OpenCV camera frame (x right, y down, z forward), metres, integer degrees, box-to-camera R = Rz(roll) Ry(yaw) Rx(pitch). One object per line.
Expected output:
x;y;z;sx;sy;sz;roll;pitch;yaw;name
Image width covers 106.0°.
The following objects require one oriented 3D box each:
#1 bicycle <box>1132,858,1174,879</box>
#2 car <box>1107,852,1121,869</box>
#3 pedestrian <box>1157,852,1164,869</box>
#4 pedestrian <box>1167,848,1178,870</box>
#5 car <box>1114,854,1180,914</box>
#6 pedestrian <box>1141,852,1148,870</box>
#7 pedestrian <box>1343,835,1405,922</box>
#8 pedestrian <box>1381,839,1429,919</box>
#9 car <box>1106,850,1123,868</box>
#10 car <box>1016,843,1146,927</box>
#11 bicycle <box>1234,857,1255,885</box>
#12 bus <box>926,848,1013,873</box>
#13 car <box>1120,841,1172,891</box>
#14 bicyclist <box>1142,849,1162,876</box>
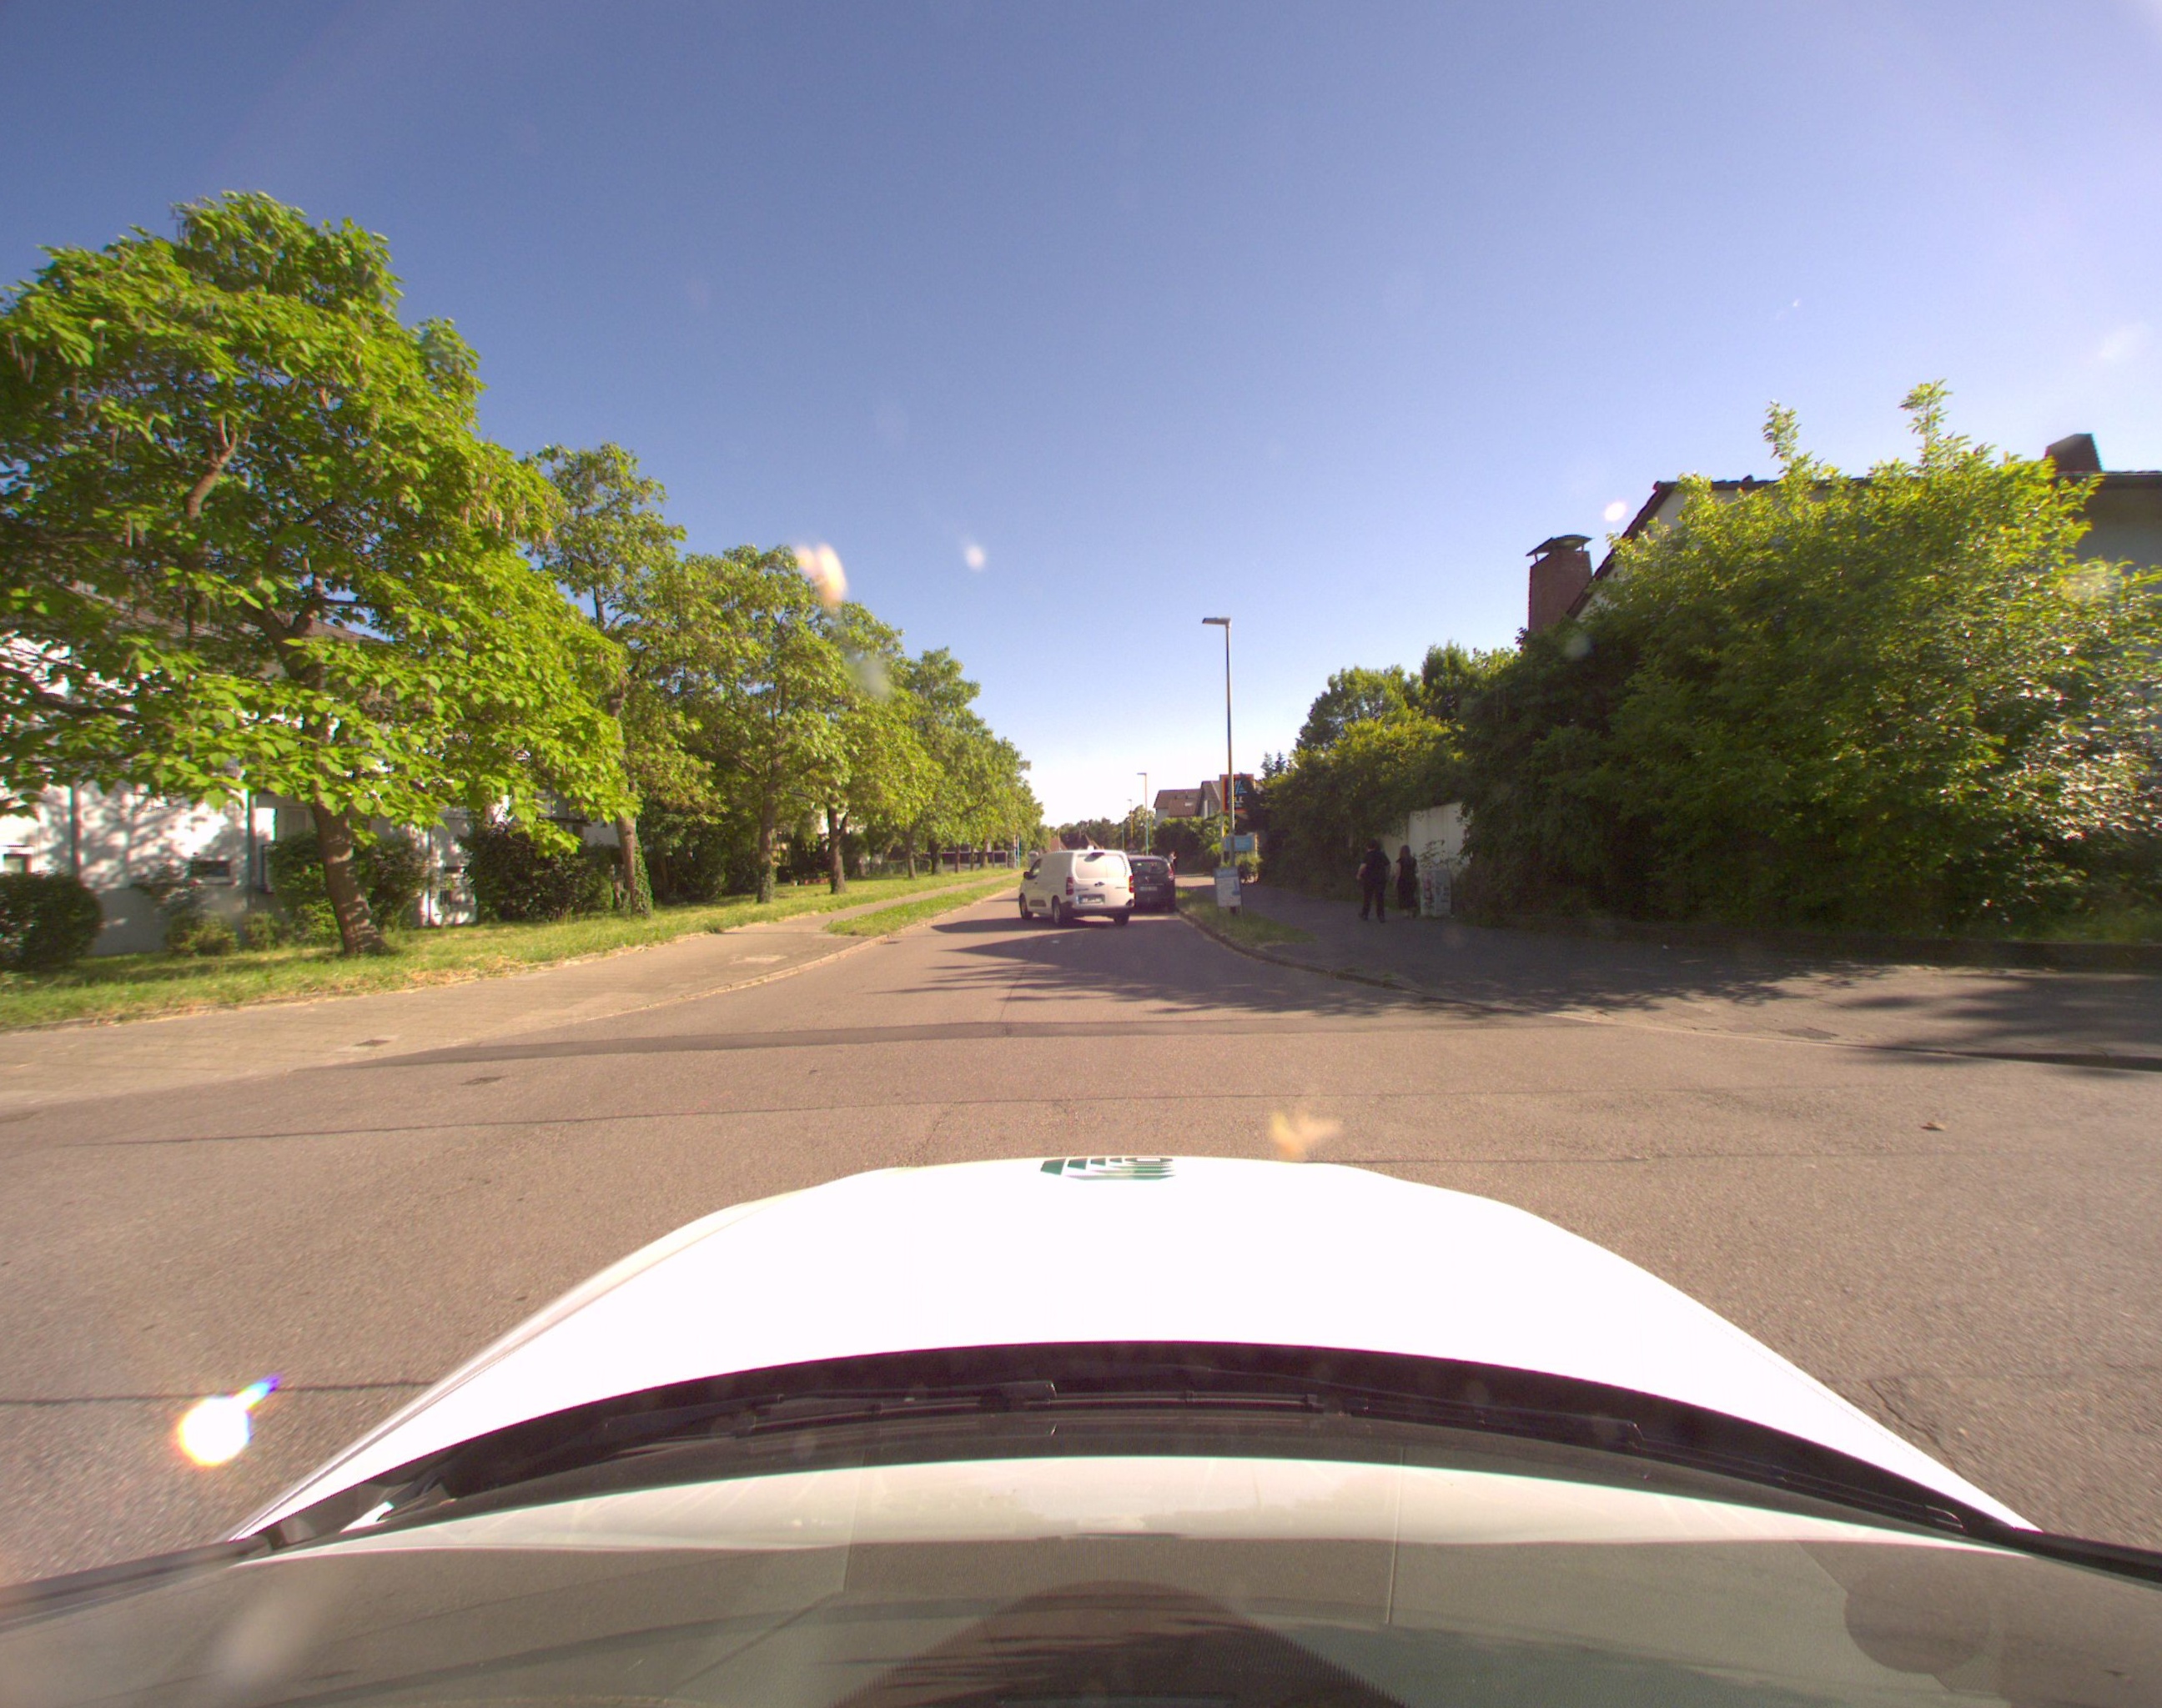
4.207;0.833;47.774;2.253;1.138;0.793;-3;-1;20;bicycle
4.863;0.996;121.694;1.860;2.562;4.766;1;-1;0;car
7.607;0.646;77.902;0.564;1.637;0.547;-1;0;6;pedestrian
7.595;0.414;67.394;0.793;1.782;0.811;-2;0;9;pedestrian
1.963;0.854;25.241;1.718;1.656;4.353;-2;0;1;car
5.804;0.630;74.341;0.564;1.637;0.547;-1;0;6;pedestrian
6.057;0.500;16.899;0.802;1.717;0.983;-3;-2;-2;pedestrian
6.803;0.525;17.119;0.571;1.609;0.792;-3;-2;-2;pedestrian
3.601;0.539;87.819;1.717;1.837;4.002;-1;-1;2;car
-0.140;0.724;20.799;2.000;1.882;4.261;-1;0;-19;car
7.477;0.783;37.182;0.715;1.221;1.904;-4;-2;17;bicycle
-14.163;0.781;103.362;10.571;2.824;3.033;-2;-1;-14;bus
2.489;0.437;32.248;1.833;1.805;4.656;-2;0;2;car
4.162;0.511;47.861;0.955;1.584;0.913;-1;-1;21;bicyclist
